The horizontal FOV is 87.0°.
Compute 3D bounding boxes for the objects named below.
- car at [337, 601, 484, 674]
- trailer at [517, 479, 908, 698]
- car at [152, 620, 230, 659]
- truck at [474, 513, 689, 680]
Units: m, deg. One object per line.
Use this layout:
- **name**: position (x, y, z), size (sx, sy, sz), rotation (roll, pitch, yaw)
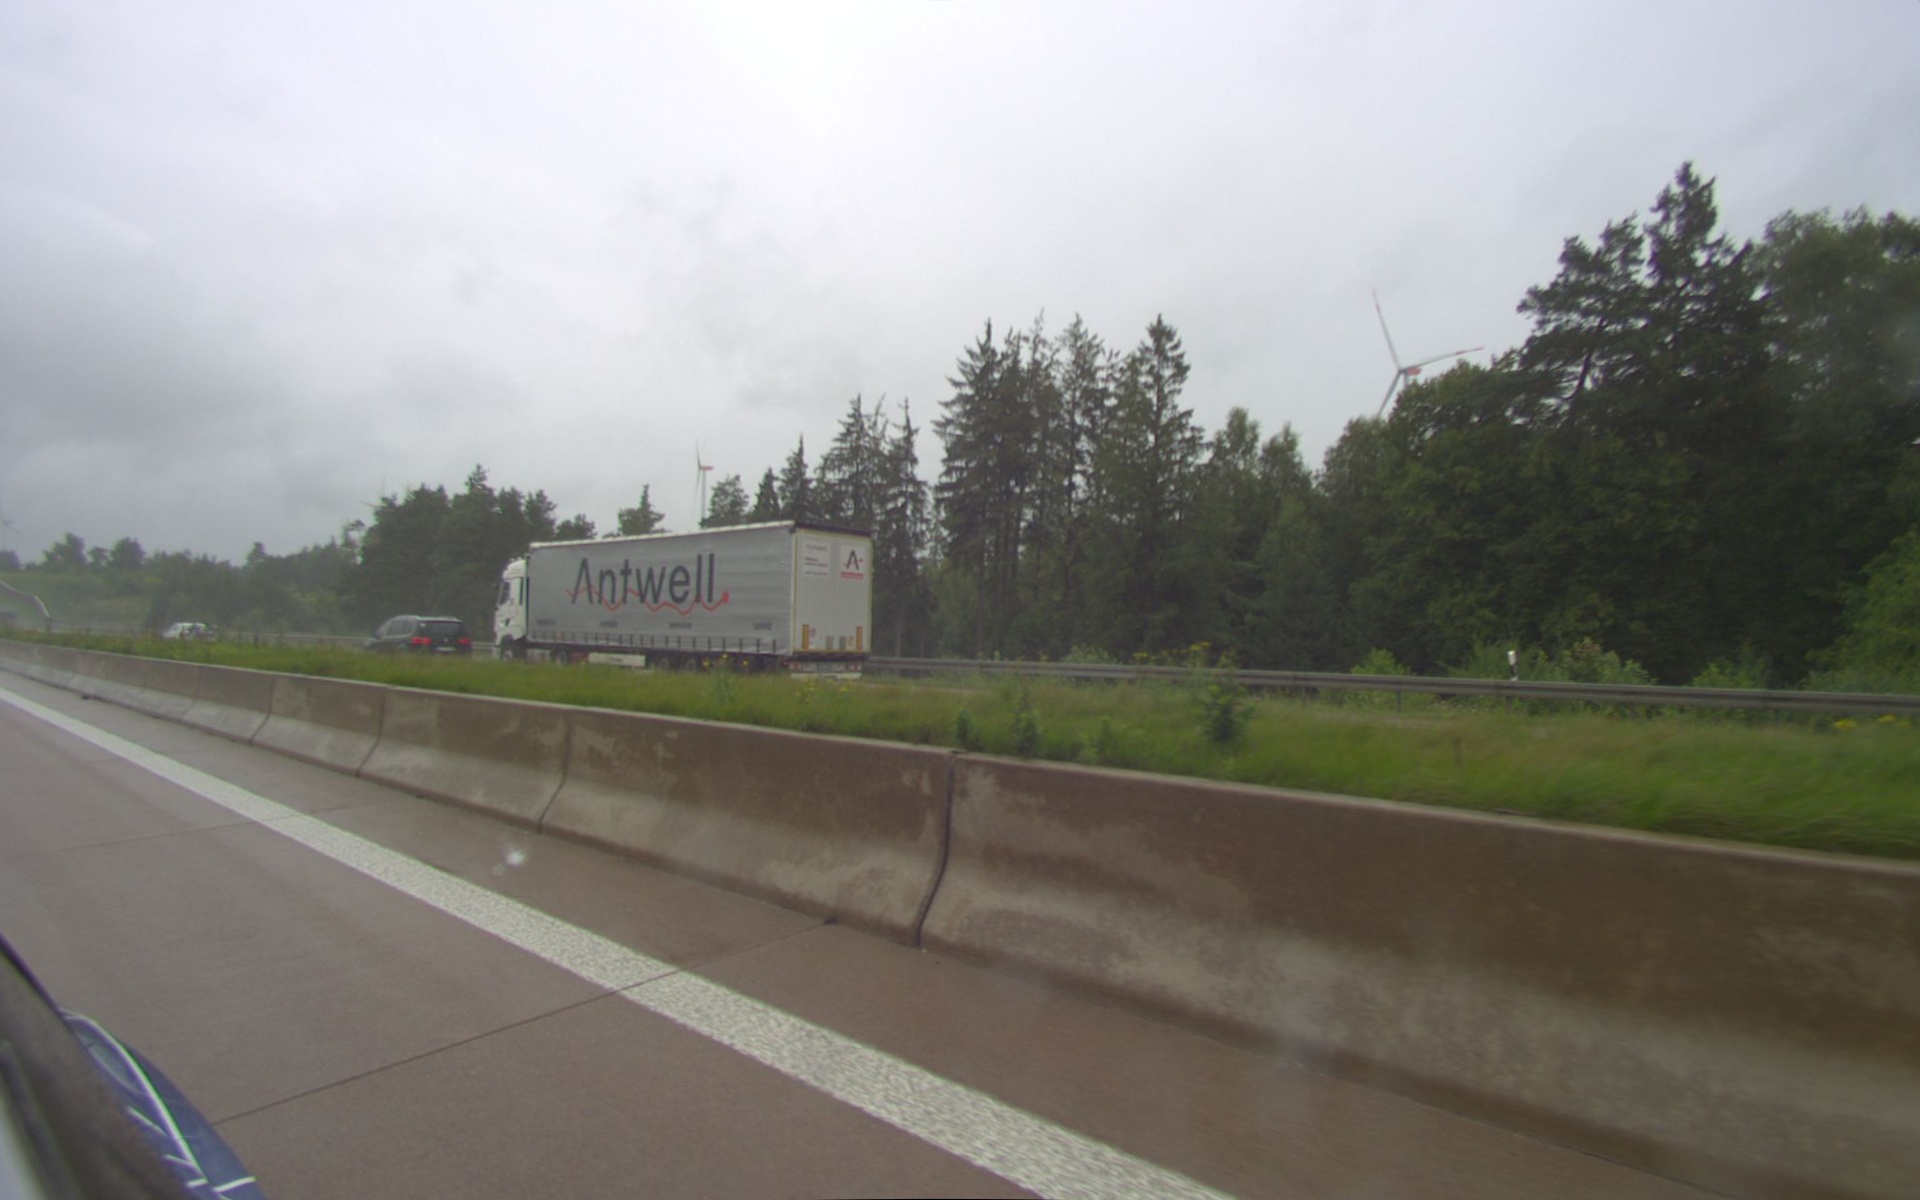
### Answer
- **car**: position (-16.933, 1.100, 31.077), size (5.149, 2.029, 2.283), rotation (-1, 0, 41)
- **trailer**: position (-7.708, -0.192, 29.059), size (13.674, 4.990, 3.716), rotation (-1, 0, 41)
- **car**: position (-42.399, 2.128, 55.768), size (5.753, 1.993, 2.283), rotation (-1, 0, 41)
- **truck**: position (-12.587, -0.102, 33.370), size (7.252, 4.907, 3.641), rotation (-1, 0, 41)
